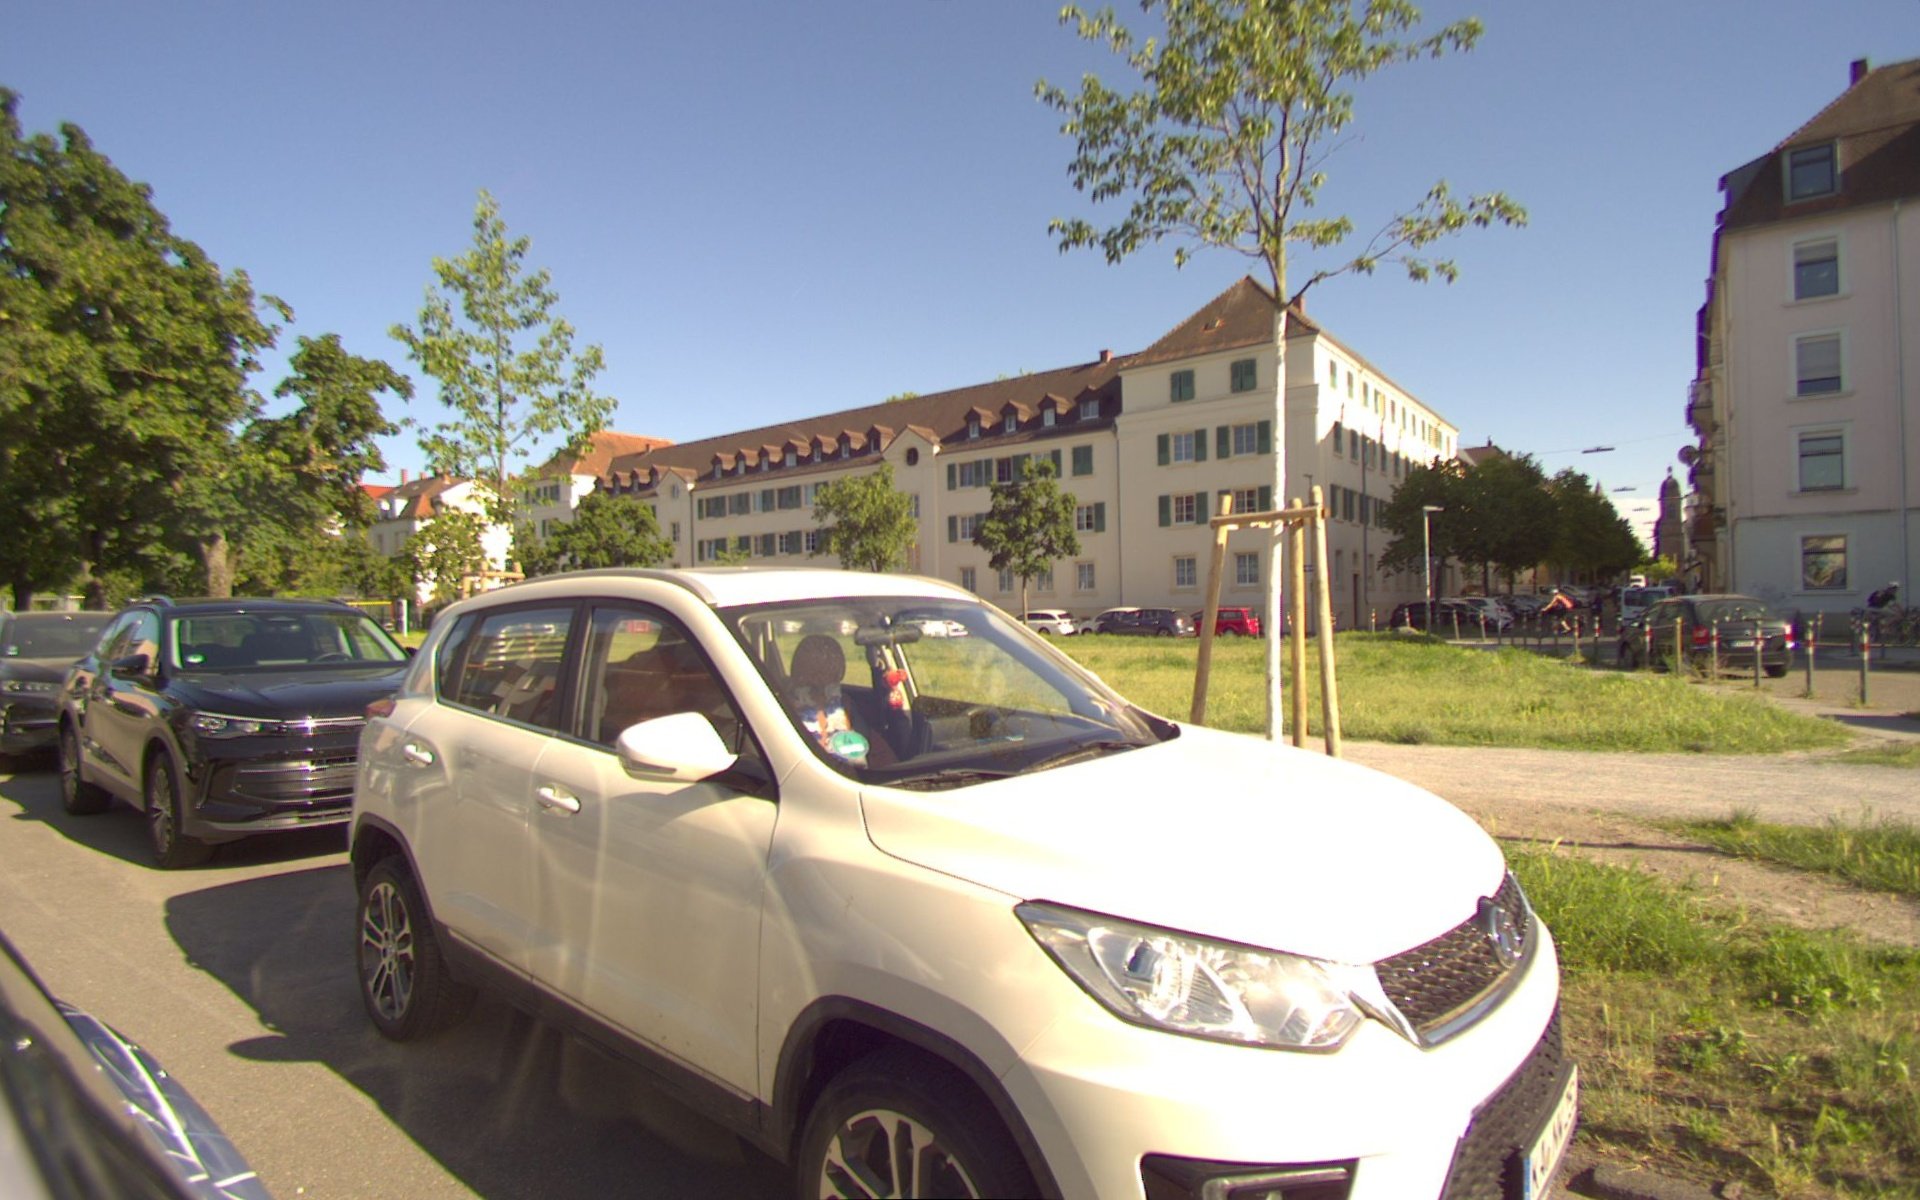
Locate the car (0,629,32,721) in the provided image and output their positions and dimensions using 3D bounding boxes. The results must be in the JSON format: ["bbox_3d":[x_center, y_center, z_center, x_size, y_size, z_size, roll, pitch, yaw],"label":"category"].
[{"bbox_3d":[-17.976,1.280,17.768,4.662,1.503,1.738,-2,-3,38],"label":"car"}]

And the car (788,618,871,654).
[{"bbox_3d":[-6.925,1.892,53.546,4.006,1.763,2.293,-2,-1,41],"label":"car"}]

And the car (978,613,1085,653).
[{"bbox_3d":[3.634,1.691,51.951,5.153,1.900,2.132,-2,-1,39],"label":"car"}]

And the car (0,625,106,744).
[{"bbox_3d":[-13.992,1.142,14.484,4.465,1.531,1.855,-2,-3,39],"label":"car"}]

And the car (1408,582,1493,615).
[{"bbox_3d":[24.648,-0.045,50.905,3.608,1.532,1.688,-2,-1,36],"label":"car"}]

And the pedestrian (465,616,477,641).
[{"bbox_3d":[-33.200,1.931,68.735,0.674,1.698,0.537,-2,-1,44],"label":"pedestrian"}]

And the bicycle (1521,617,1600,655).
[{"bbox_3d":[20.805,1.245,35.097,2.255,1.272,0.833,-2,-1,39],"label":"bicycle"}]

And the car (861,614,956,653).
[{"bbox_3d":[-2.544,1.646,49.941,4.251,1.834,2.215,-2,-1,37],"label":"car"}]

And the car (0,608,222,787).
[{"bbox_3d":[-10.074,0.960,11.341,4.734,1.622,1.801,-2,-3,40],"label":"car"}]

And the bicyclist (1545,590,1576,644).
[{"bbox_3d":[20.809,0.588,35.091,0.800,1.816,0.666,-2,-1,39],"label":"bicyclist"}]

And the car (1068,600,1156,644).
[{"bbox_3d":[7.304,1.048,48.868,3.893,2.029,1.649,-1,-1,39],"label":"car"}]

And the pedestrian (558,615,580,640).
[{"bbox_3d":[-32.732,2.297,84.692,1.160,1.978,1.328,-2,-1,34],"label":"pedestrian"}]

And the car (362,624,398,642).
[{"bbox_3d":[-59.132,3.346,103.188,3.998,1.807,1.930,-2,-1,41],"label":"car"}]

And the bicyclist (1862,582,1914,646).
[{"bbox_3d":[25.004,0.371,27.265,0.864,1.703,0.634,-1,-1,-18],"label":"bicyclist"}]

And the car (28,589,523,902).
[{"bbox_3d":[-5.306,0.839,7.567,4.711,1.651,1.824,-2,-2,40],"label":"car"}]

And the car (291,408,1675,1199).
[{"bbox_3d":[-0.434,0.672,3.239,4.284,1.660,1.738,-2,-3,41],"label":"car"}]

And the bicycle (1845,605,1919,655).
[{"bbox_3d":[24.961,0.800,27.227,2.117,1.268,0.717,-1,-1,-18],"label":"bicycle"}]

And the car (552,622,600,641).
[{"bbox_3d":[-30.201,2.479,79.528,3.995,1.366,1.751,-2,-1,39],"label":"car"}]

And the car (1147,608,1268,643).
[{"bbox_3d":[11.111,1.145,45.664,4.952,1.496,1.974,-2,-2,39],"label":"car"}]

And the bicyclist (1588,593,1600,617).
[{"bbox_3d":[36.380,0.268,58.085,0.532,1.374,0.776,-2,-1,36],"label":"bicyclist"}]

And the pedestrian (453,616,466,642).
[{"bbox_3d":[-33.757,1.970,68.232,0.749,1.698,0.538,-2,-1,41],"label":"pedestrian"}]

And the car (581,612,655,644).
[{"bbox_3d":[-22.487,1.828,66.431,5.252,1.999,2.198,-2,-1,40],"label":"car"}]

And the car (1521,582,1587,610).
[{"bbox_3d":[53.248,-0.332,90.801,4.945,2.413,1.933,-2,-1,36],"label":"car"}]

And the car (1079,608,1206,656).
[{"bbox_3d":[7.465,1.292,41.626,4.698,1.834,2.137,-2,-1,38],"label":"car"}]

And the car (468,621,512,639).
[{"bbox_3d":[-35.589,2.287,76.623,3.510,1.343,1.634,-2,-1,39],"label":"car"}]

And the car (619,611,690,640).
[{"bbox_3d":[-22.032,1.855,72.910,5.249,1.999,2.200,-2,-1,37],"label":"car"}]

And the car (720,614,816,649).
[{"bbox_3d":[-10.823,1.742,56.772,5.450,1.834,2.425,-2,-1,41],"label":"car"}]

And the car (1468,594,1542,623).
[{"bbox_3d":[32.076,0.504,59.554,3.608,1.653,1.810,-2,-1,36],"label":"car"}]

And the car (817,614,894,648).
[{"bbox_3d":[-6.242,1.856,60.114,4.161,1.919,2.242,-2,-1,38],"label":"car"}]

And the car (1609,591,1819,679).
[{"bbox_3d":[15.149,0.690,20.665,1.911,1.588,4.327,-1,-1,15],"label":"car"}]

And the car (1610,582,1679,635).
[{"bbox_3d":[27.604,0.327,40.761,2.136,2.029,4.521,-2,-1,36],"label":"car"}]

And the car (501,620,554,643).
[{"bbox_3d":[-31.356,2.274,73.360,4.230,1.595,1.771,-2,-1,39],"label":"car"}]

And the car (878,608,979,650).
[{"bbox_3d":[-1.793,1.635,56.647,5.250,2.233,2.507,-2,-1,38],"label":"car"}]

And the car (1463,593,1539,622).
[{"bbox_3d":[30.622,0.446,57.289,3.608,1.532,1.838,-2,-1,36],"label":"car"}]

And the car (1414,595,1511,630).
[{"bbox_3d":[26.091,0.666,52.585,4.235,1.714,1.685,-2,-1,37],"label":"car"}]

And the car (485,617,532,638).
[{"bbox_3d":[-45.071,2.780,101.065,2.042,1.970,3.764,-2,-1,41],"label":"car"}]

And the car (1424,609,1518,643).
[{"bbox_3d":[24.088,1.212,47.725,3.663,1.533,1.691,-2,-1,38],"label":"car"}]

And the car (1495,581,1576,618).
[{"bbox_3d":[42.238,-0.029,74.317,4.945,2.538,1.933,-2,-1,36],"label":"car"}]

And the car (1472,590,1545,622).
[{"bbox_3d":[33.362,0.385,61.549,3.704,1.848,1.933,-2,-1,36],"label":"car"}]
